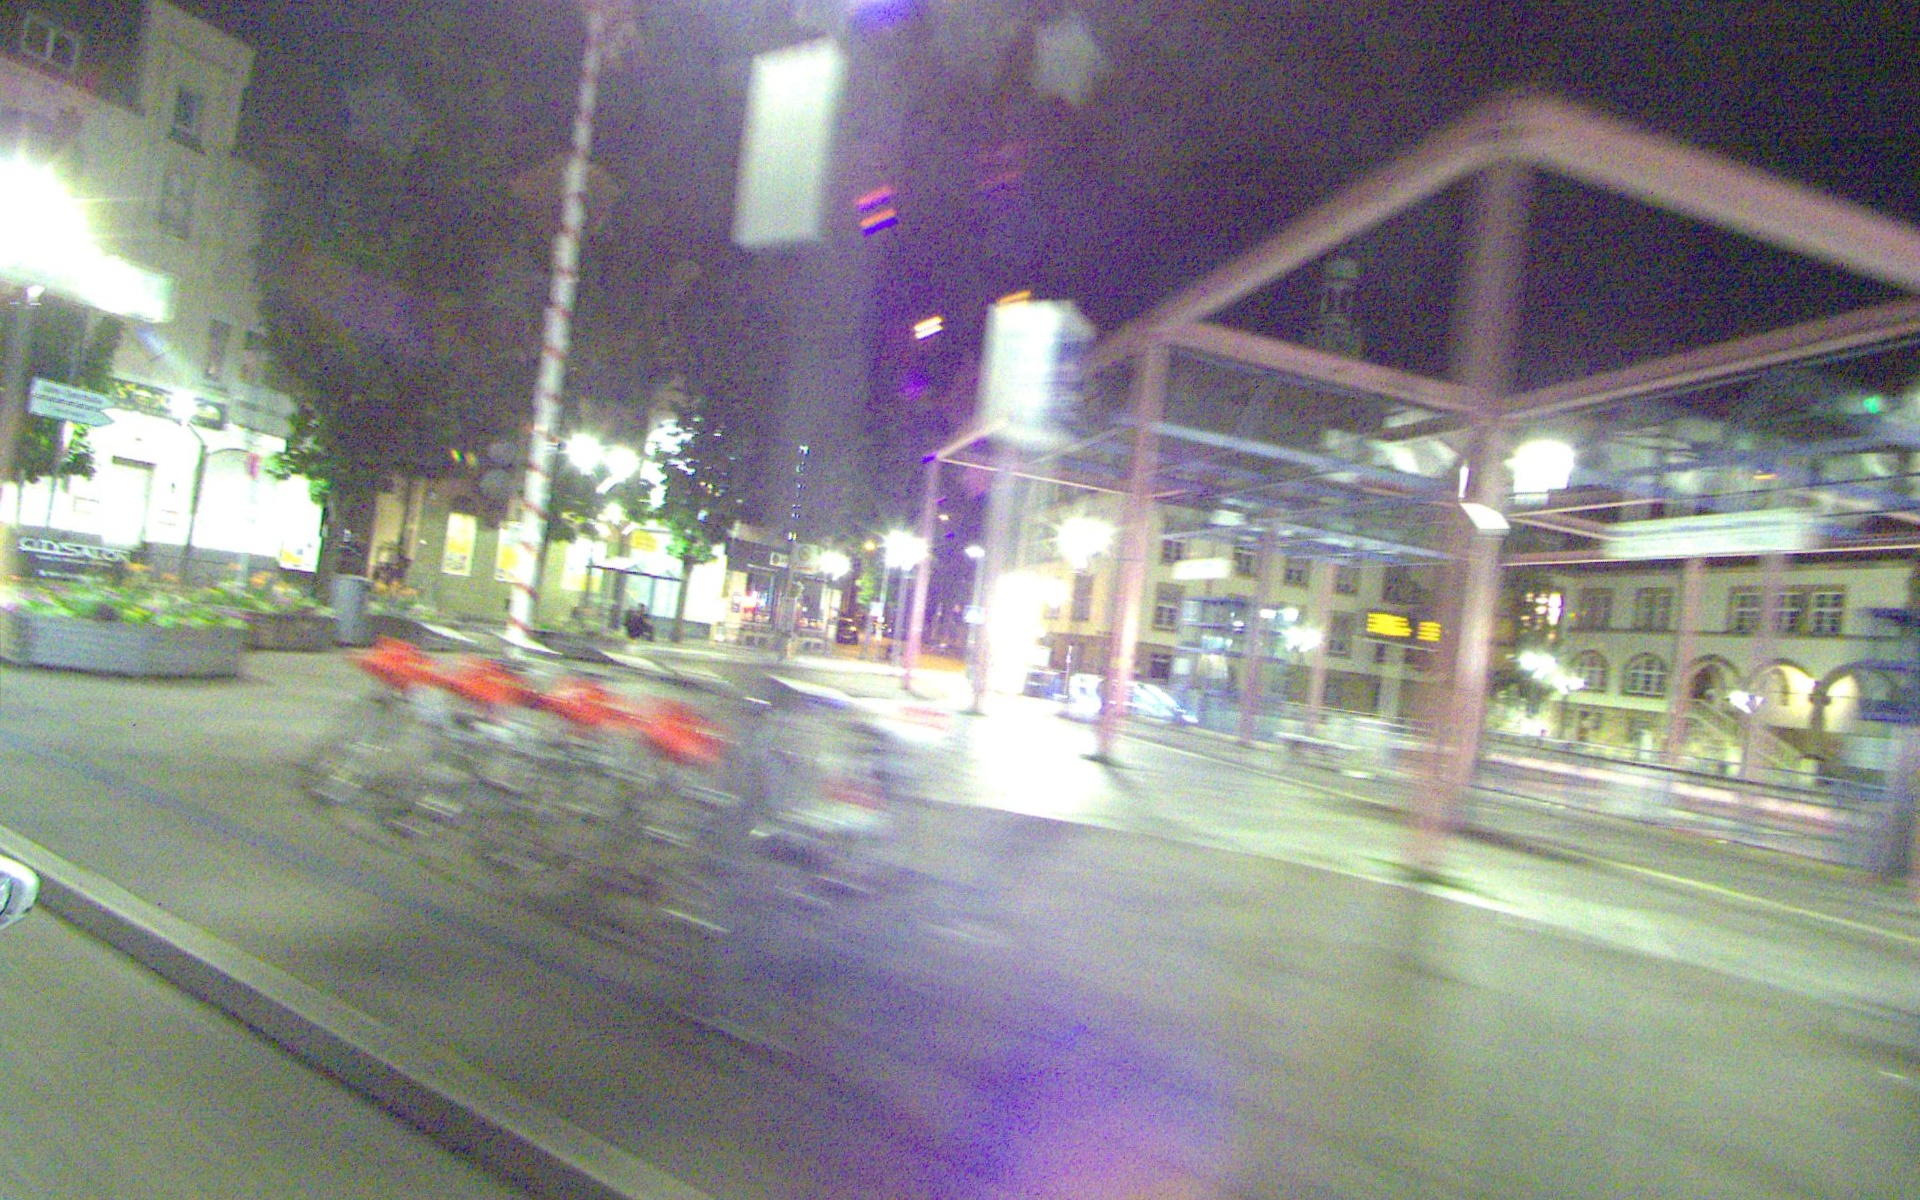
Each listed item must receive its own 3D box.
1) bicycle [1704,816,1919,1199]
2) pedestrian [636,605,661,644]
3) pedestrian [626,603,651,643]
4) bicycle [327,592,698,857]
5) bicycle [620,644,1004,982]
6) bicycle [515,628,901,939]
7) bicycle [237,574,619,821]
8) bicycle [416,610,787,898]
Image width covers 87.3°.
[{"bbox_3d":[2.031,1.111,1.779,0.712,1.147,1.871,7,-2,26],"label":"bicycle"},{"bbox_3d":[-11.146,0.867,36.027,0.506,1.314,0.466,7,-1,31],"label":"pedestrian"},{"bbox_3d":[-11.390,0.812,35.618,0.506,1.314,0.466,7,-1,31],"label":"pedestrian"},{"bbox_3d":[-2.347,0.659,5.557,0.603,1.164,1.778,7,-2,26],"label":"bicycle"},{"bbox_3d":[-0.555,0.876,4.553,0.573,1.164,1.775,7,-2,32],"label":"bicycle"},{"bbox_3d":[-1.098,0.823,4.852,0.573,1.164,1.775,7,-2,32],"label":"bicycle"},{"bbox_3d":[-3.034,0.569,5.969,0.746,1.164,1.788,7,-2,26],"label":"bicycle"},{"bbox_3d":[-1.724,0.740,5.186,0.572,1.164,1.778,7,-2,26],"label":"bicycle"}]
